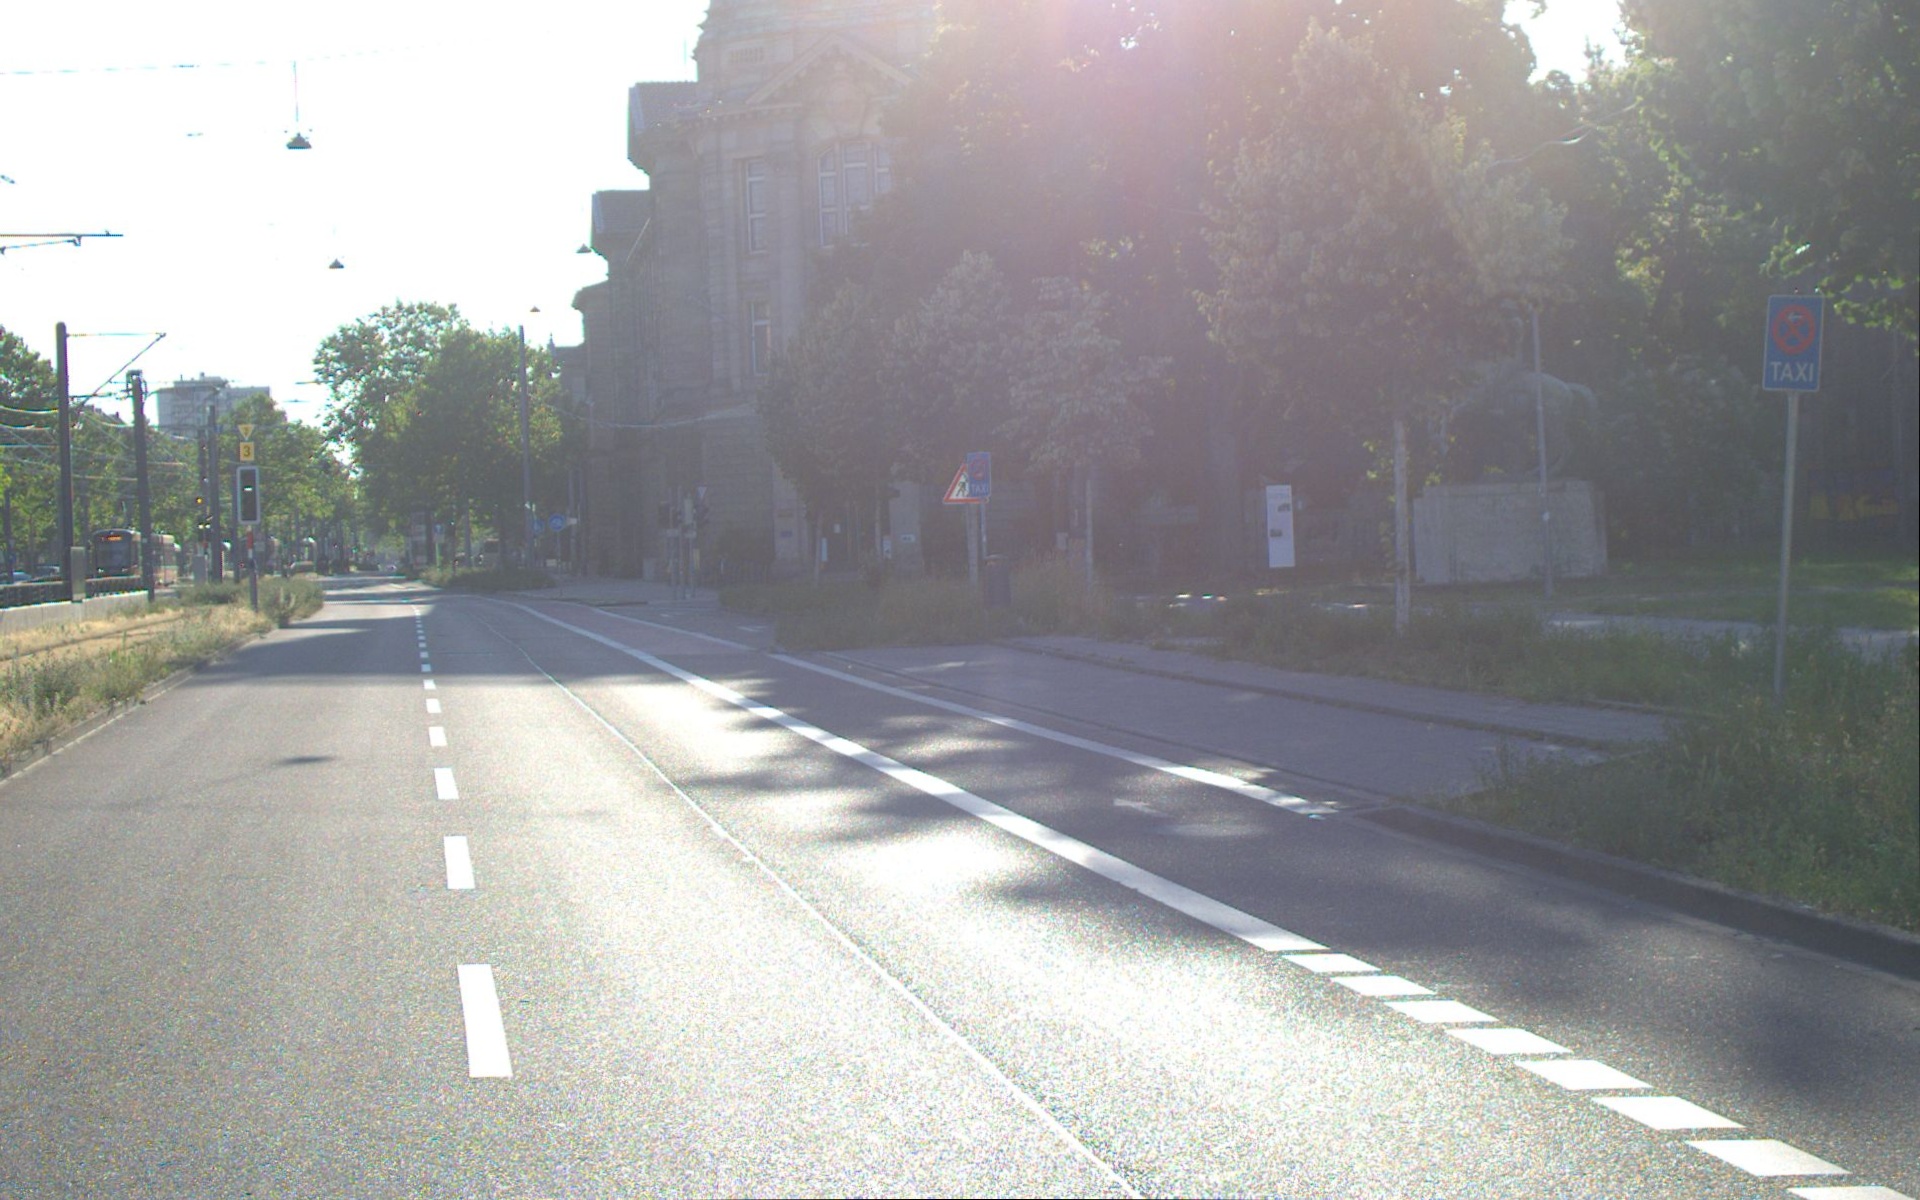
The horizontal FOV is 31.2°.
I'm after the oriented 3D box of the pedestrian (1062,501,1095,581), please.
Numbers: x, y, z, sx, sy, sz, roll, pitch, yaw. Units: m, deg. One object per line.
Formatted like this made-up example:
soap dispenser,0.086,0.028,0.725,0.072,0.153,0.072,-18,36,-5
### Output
pedestrian,2.751,-1.371,79.824,0.683,1.816,0.535,-2,1,-3
